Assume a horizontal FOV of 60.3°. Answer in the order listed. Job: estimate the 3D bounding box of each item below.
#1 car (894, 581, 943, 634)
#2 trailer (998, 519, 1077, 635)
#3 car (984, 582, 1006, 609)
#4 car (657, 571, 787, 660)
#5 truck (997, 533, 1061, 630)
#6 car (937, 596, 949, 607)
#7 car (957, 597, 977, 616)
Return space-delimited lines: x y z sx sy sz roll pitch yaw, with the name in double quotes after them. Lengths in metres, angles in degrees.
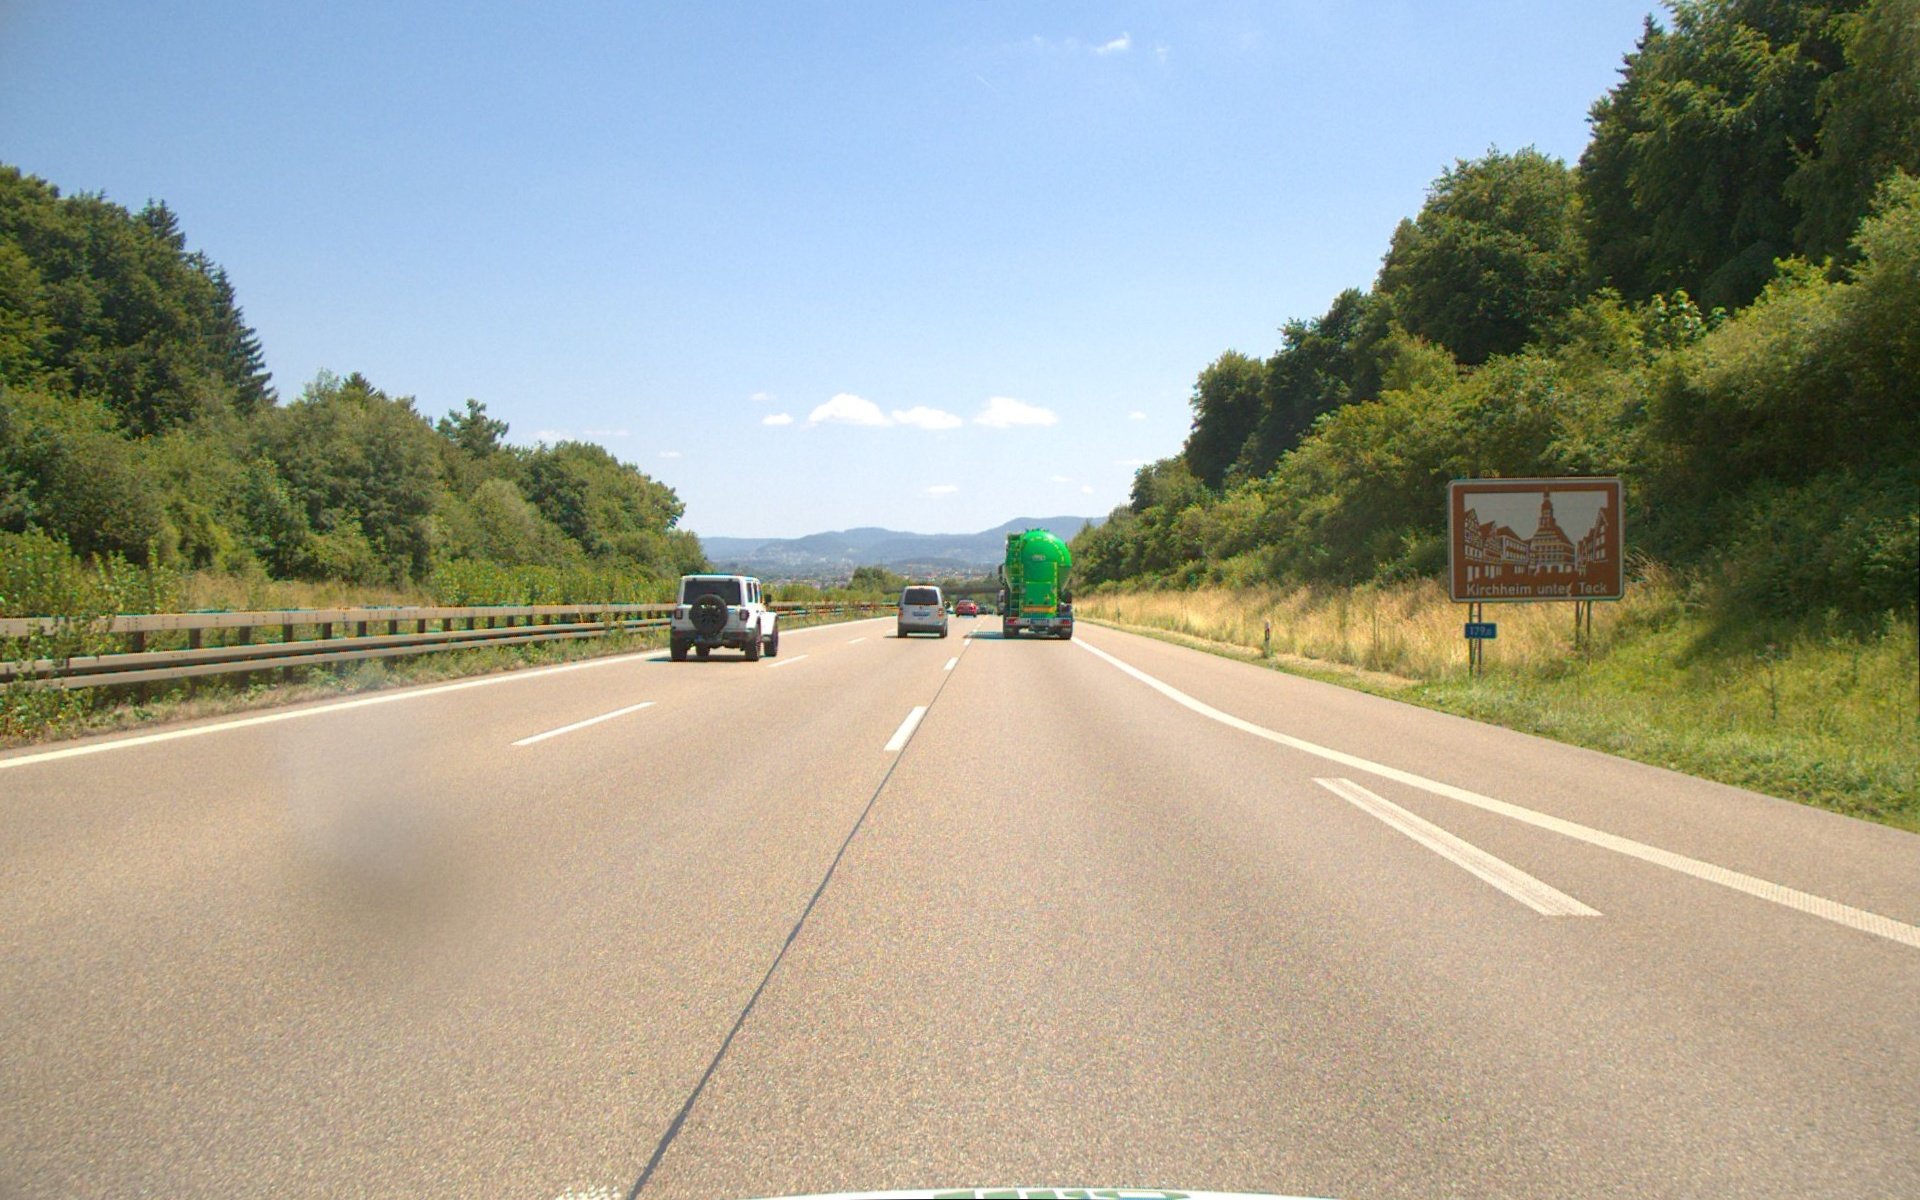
-1.482 0.261 60.714 1.710 1.861 4.800 1 0 -1 "car"
2.878 -0.849 64.150 2.534 4.098 10.470 1 0 0 "trailer"
3.477 -0.410 164.798 2.046 2.621 6.624 1 0 2 "car"
-5.309 0.319 37.553 2.040 1.861 4.755 1 0 3 "car"
2.852 -0.748 69.366 2.458 3.909 4.892 1 0 0 "truck"
-2.183 0.216 211.426 1.372 1.420 3.213 1 0 2 "car"
0.626 0.539 142.190 1.416 1.577 3.358 1 0 4 "car"
